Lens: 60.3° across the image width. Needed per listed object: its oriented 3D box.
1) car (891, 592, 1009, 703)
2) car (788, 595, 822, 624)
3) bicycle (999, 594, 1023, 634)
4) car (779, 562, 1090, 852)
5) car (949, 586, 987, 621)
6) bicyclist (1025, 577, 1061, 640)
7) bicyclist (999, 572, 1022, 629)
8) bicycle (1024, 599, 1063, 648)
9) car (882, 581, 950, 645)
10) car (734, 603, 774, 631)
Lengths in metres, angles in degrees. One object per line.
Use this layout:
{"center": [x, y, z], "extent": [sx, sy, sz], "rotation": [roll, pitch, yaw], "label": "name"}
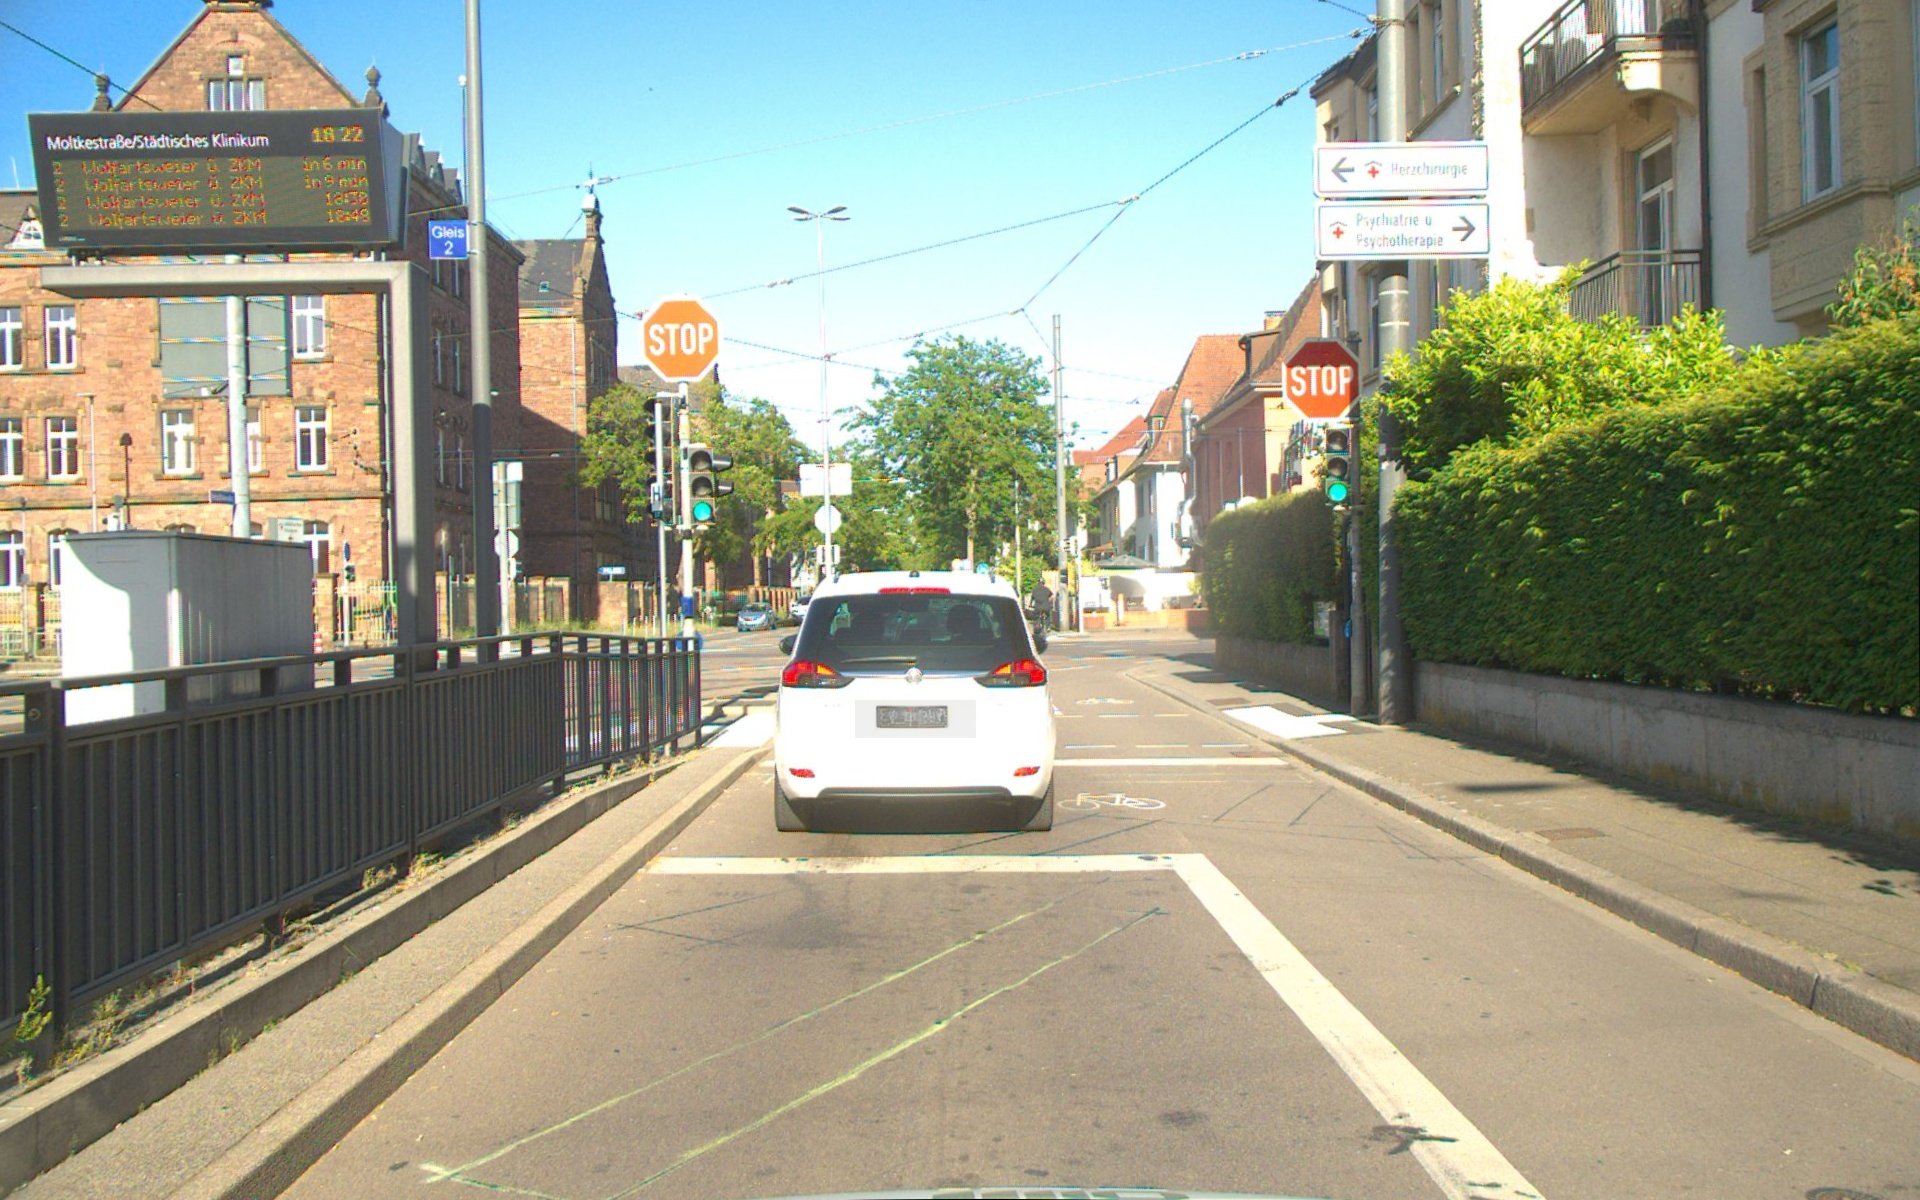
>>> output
{"center": [-0.085, 0.639, 24.419], "extent": [1.553, 1.445, 3.901], "rotation": [-2, 0, 1], "label": "car"}
{"center": [-9.902, 0.615, 105.714], "extent": [1.854, 1.815, 3.879], "rotation": [-1, 0, -1], "label": "car"}
{"center": [1.513, 0.409, 49.158], "extent": [0.671, 1.177, 1.620], "rotation": [-1, 0, 2], "label": "bicycle"}
{"center": [-0.138, 0.635, 11.650], "extent": [1.797, 1.670, 3.918], "rotation": [-1, 0, 0], "label": "car"}
{"center": [0.416, 0.181, 81.323], "extent": [1.739, 1.660, 3.881], "rotation": [-1, 0, 2], "label": "car"}
{"center": [2.049, 0.204, 41.050], "extent": [0.804, 1.528, 0.934], "rotation": [-1, 0, -1], "label": "bicyclist"}
{"center": [1.504, 0.019, 49.167], "extent": [0.671, 1.663, 1.016], "rotation": [-1, 0, 2], "label": "bicyclist"}
{"center": [2.054, 0.567, 41.005], "extent": [0.812, 1.175, 2.094], "rotation": [-1, 0, -1], "label": "bicycle"}
{"center": [-1.167, 0.341, 45.297], "extent": [1.739, 1.660, 3.880], "rotation": [-1, 0, 0], "label": "car"}
{"center": [-10.948, 0.893, 88.231], "extent": [1.548, 1.466, 3.585], "rotation": [-1, 0, 2], "label": "car"}
